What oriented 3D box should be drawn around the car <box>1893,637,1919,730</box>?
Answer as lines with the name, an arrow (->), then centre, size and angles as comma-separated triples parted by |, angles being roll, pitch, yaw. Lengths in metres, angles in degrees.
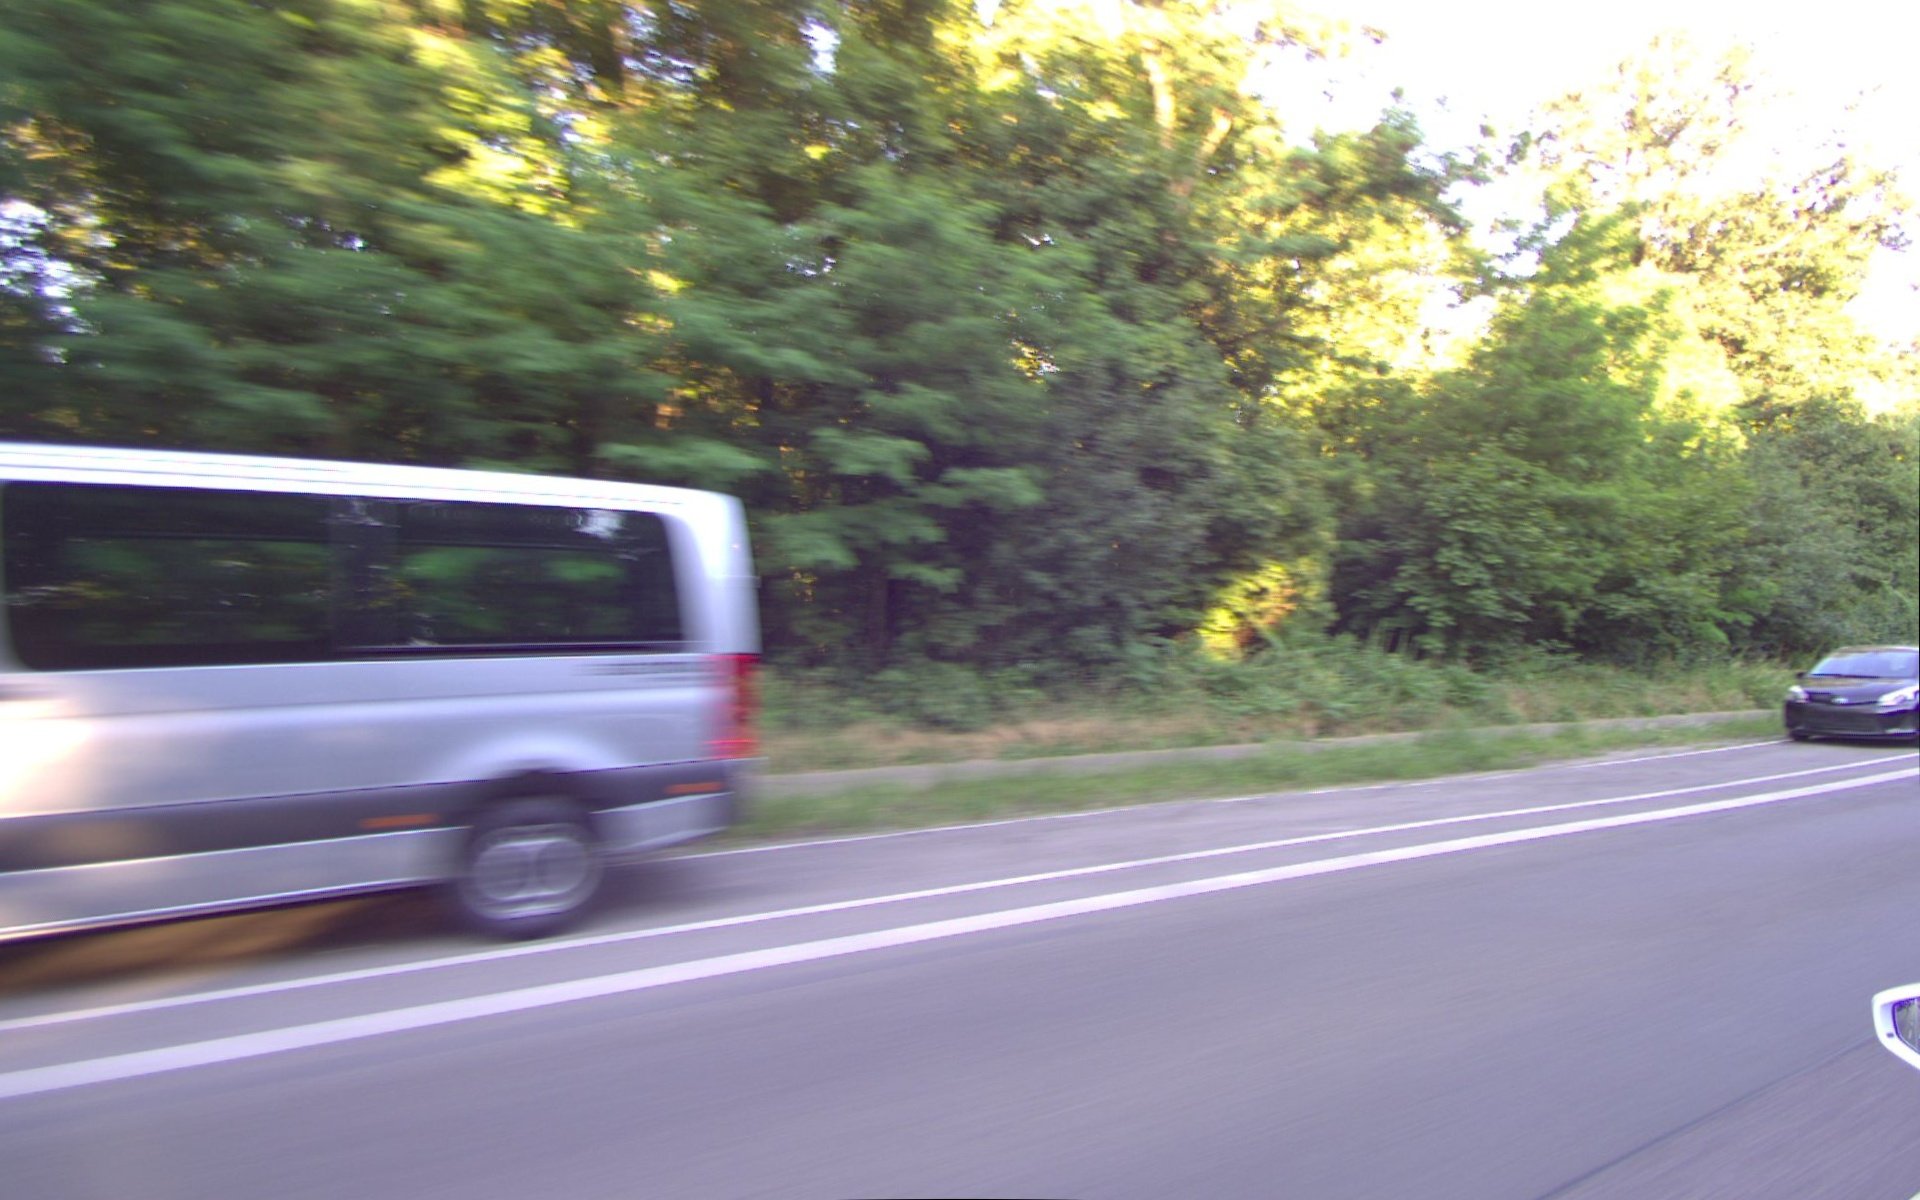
car -> 19.399, 1.533, 18.825 | 4.522, 1.667, 1.686 | 2, -3, -32

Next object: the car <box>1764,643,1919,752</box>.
car -> 14.588, 1.467, 15.985 | 3.694, 1.540, 1.663 | 2, -3, -32

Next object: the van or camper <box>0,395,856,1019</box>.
van or camper -> -3.829, 0.482, 5.087 | 6.310, 2.421, 2.100 | 2, -4, -32
